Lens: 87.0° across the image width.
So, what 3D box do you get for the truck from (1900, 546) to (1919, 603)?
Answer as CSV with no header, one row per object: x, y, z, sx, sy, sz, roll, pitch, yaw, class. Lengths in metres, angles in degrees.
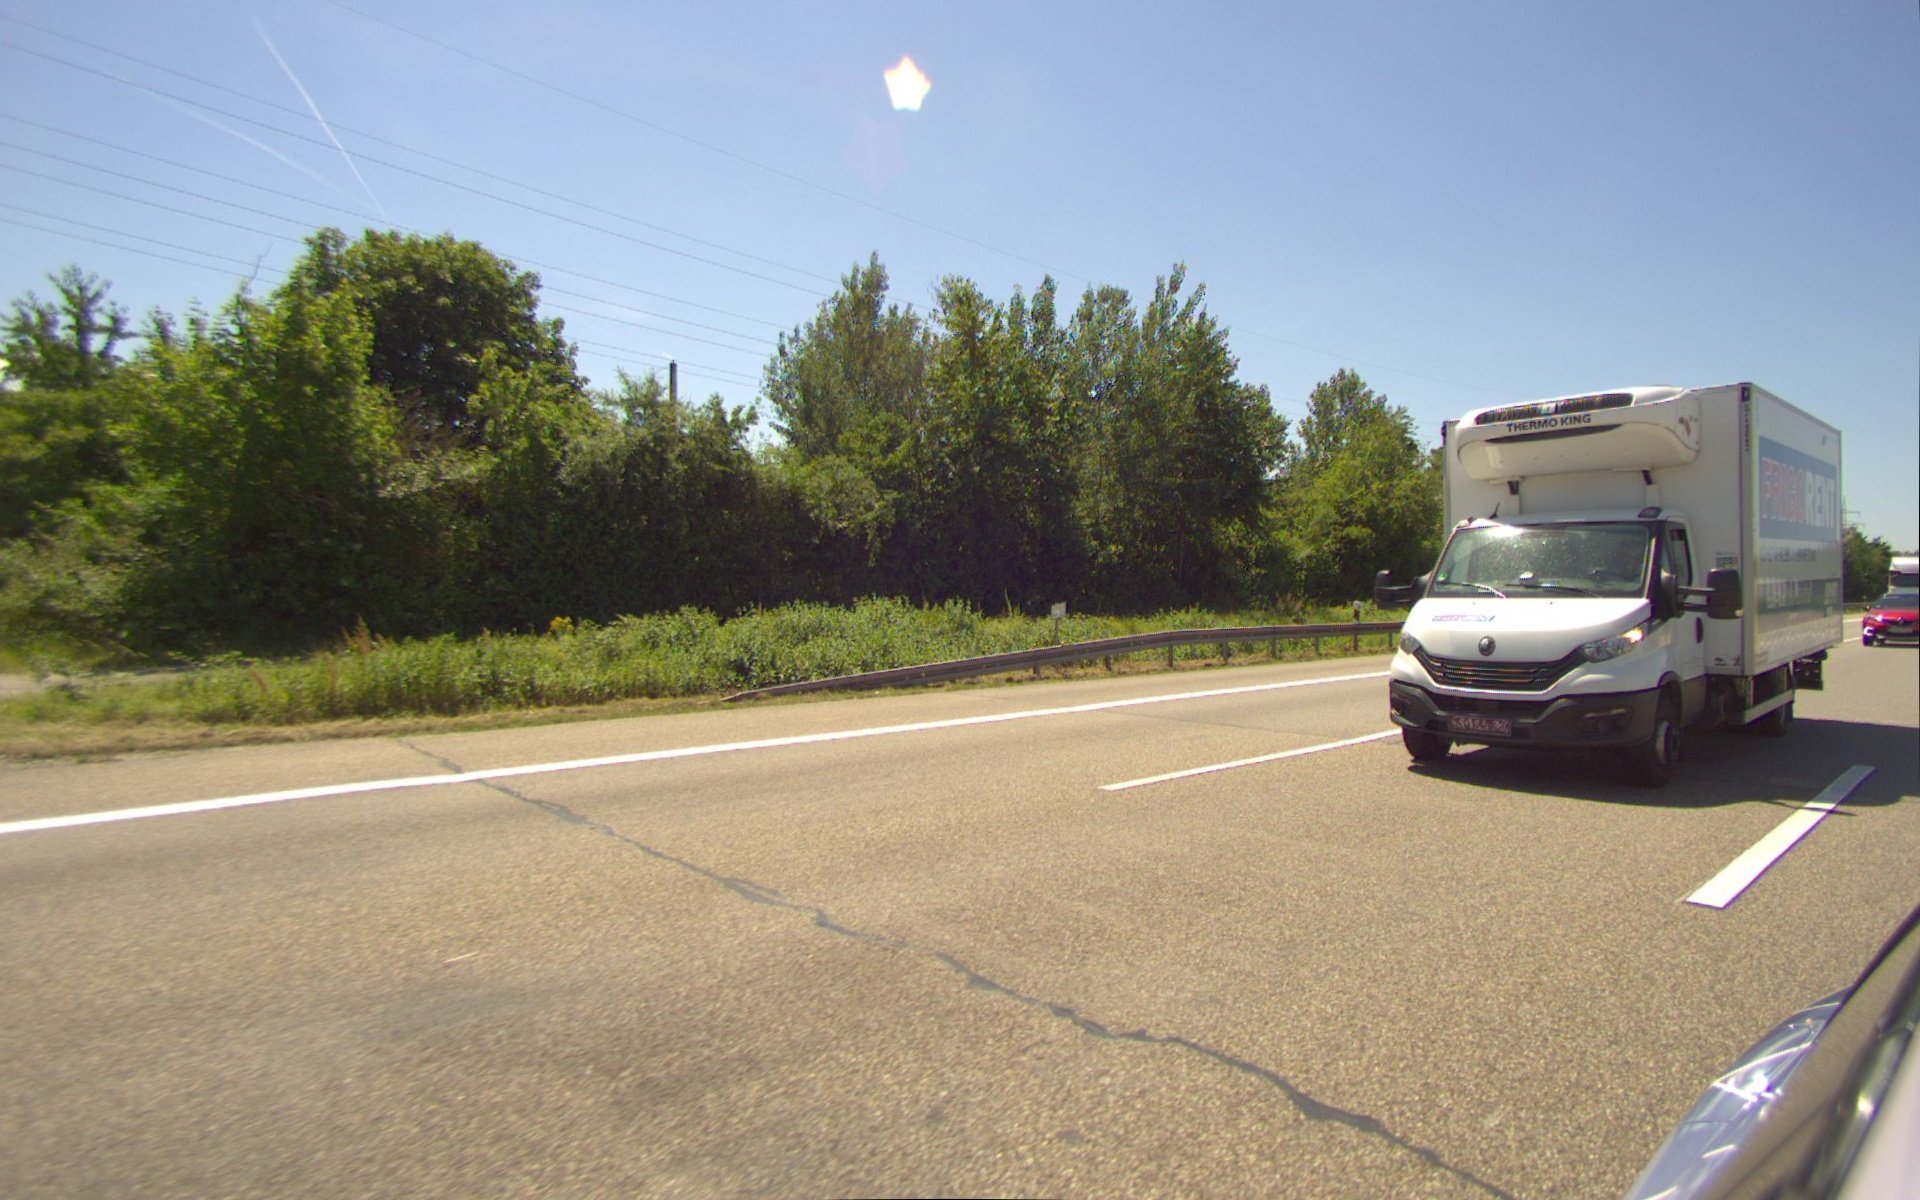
63.947,-1.666,66.503,6.344,3.598,2.455,-1,0,-41,truck

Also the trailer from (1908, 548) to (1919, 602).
67.945,-1.737,69.952,9.548,3.598,2.455,-1,0,-41,trailer

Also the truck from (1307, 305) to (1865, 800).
6.909,-0.374,10.513,7.677,3.390,2.781,-1,0,-41,truck

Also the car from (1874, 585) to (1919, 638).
27.943,0.292,29.314,3.930,1.466,1.670,-1,0,-41,car
